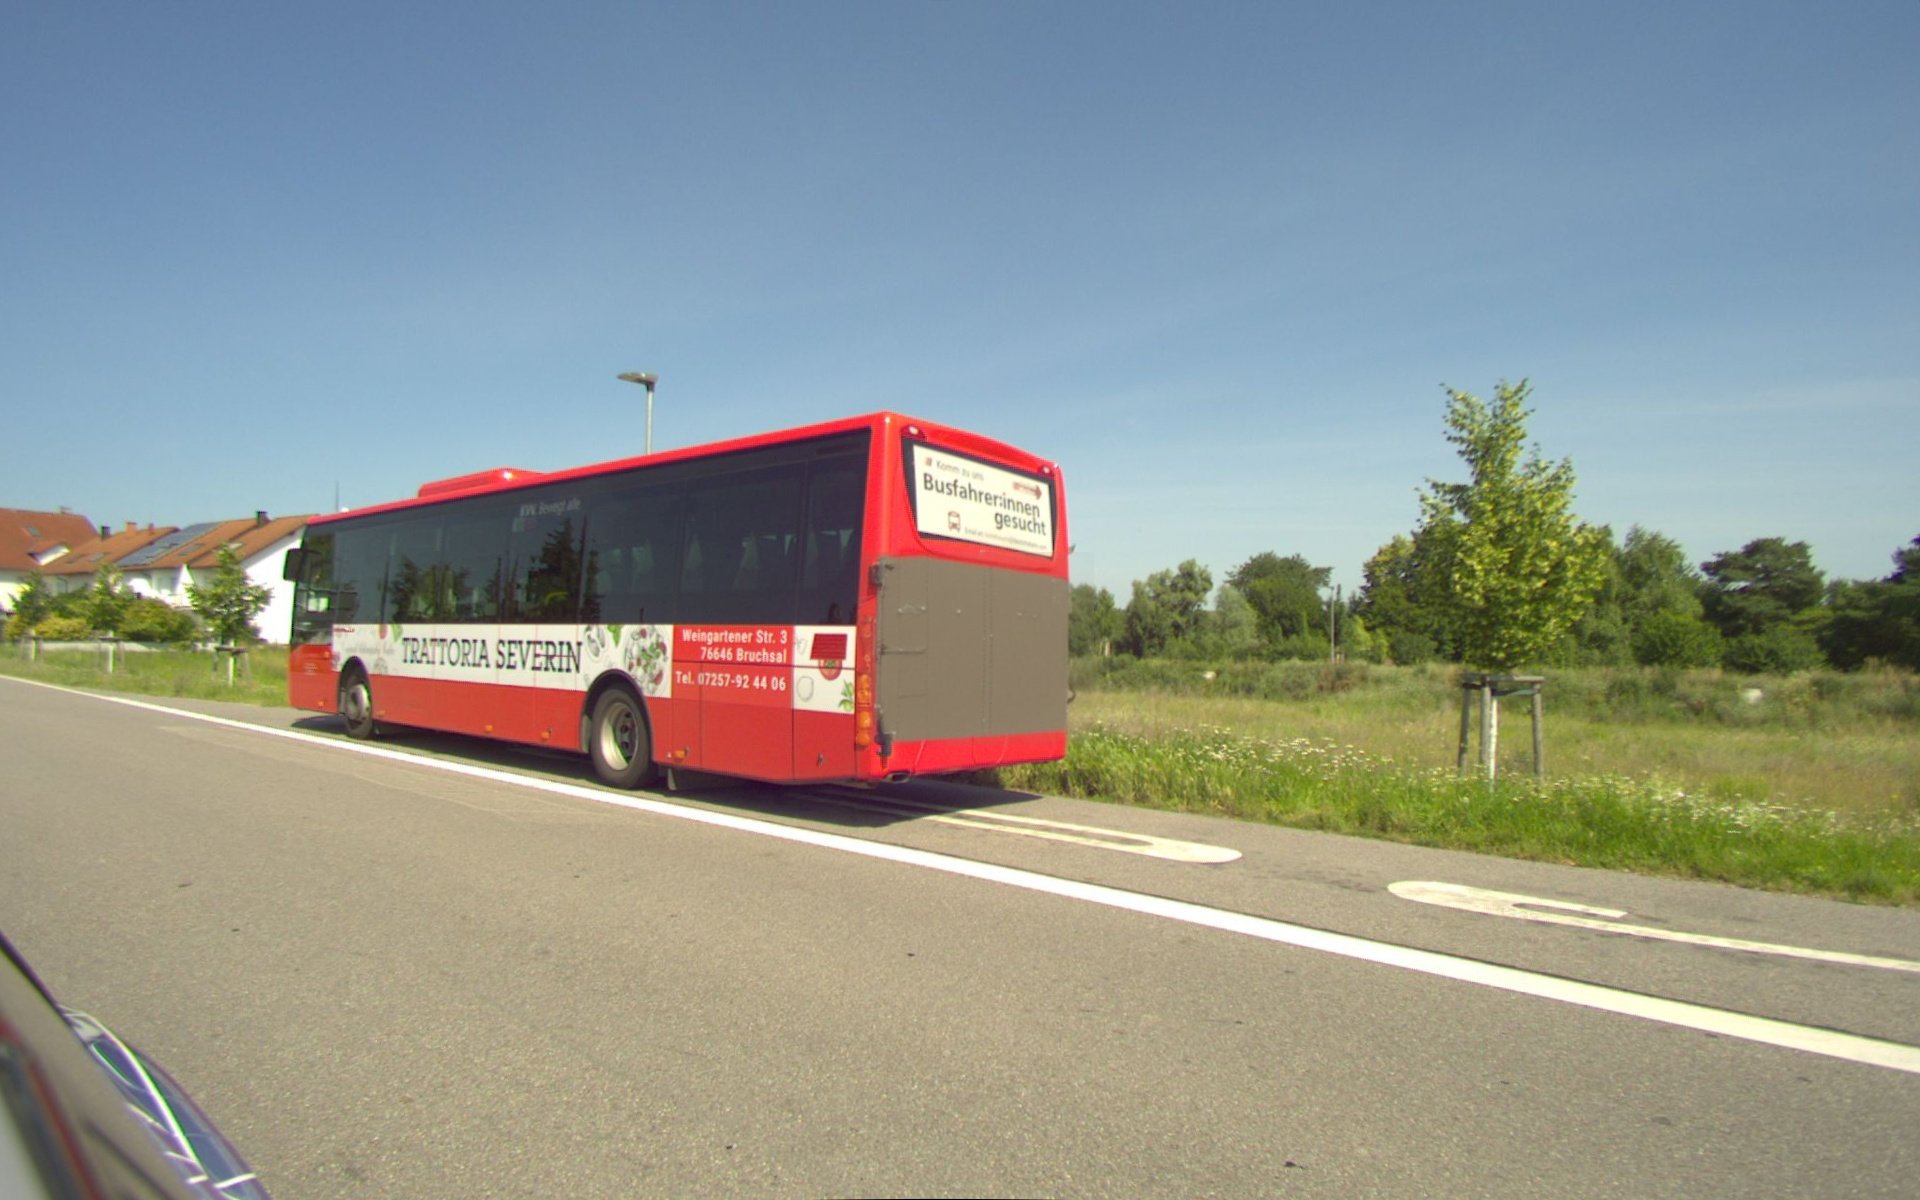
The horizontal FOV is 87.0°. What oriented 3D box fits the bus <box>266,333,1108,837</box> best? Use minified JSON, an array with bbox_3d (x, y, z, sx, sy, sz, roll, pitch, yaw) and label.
[{"bbox_3d":[-4.286,0.104,11.630,12.219,3.312,2.766,-2,-5,40],"label":"bus"}]
